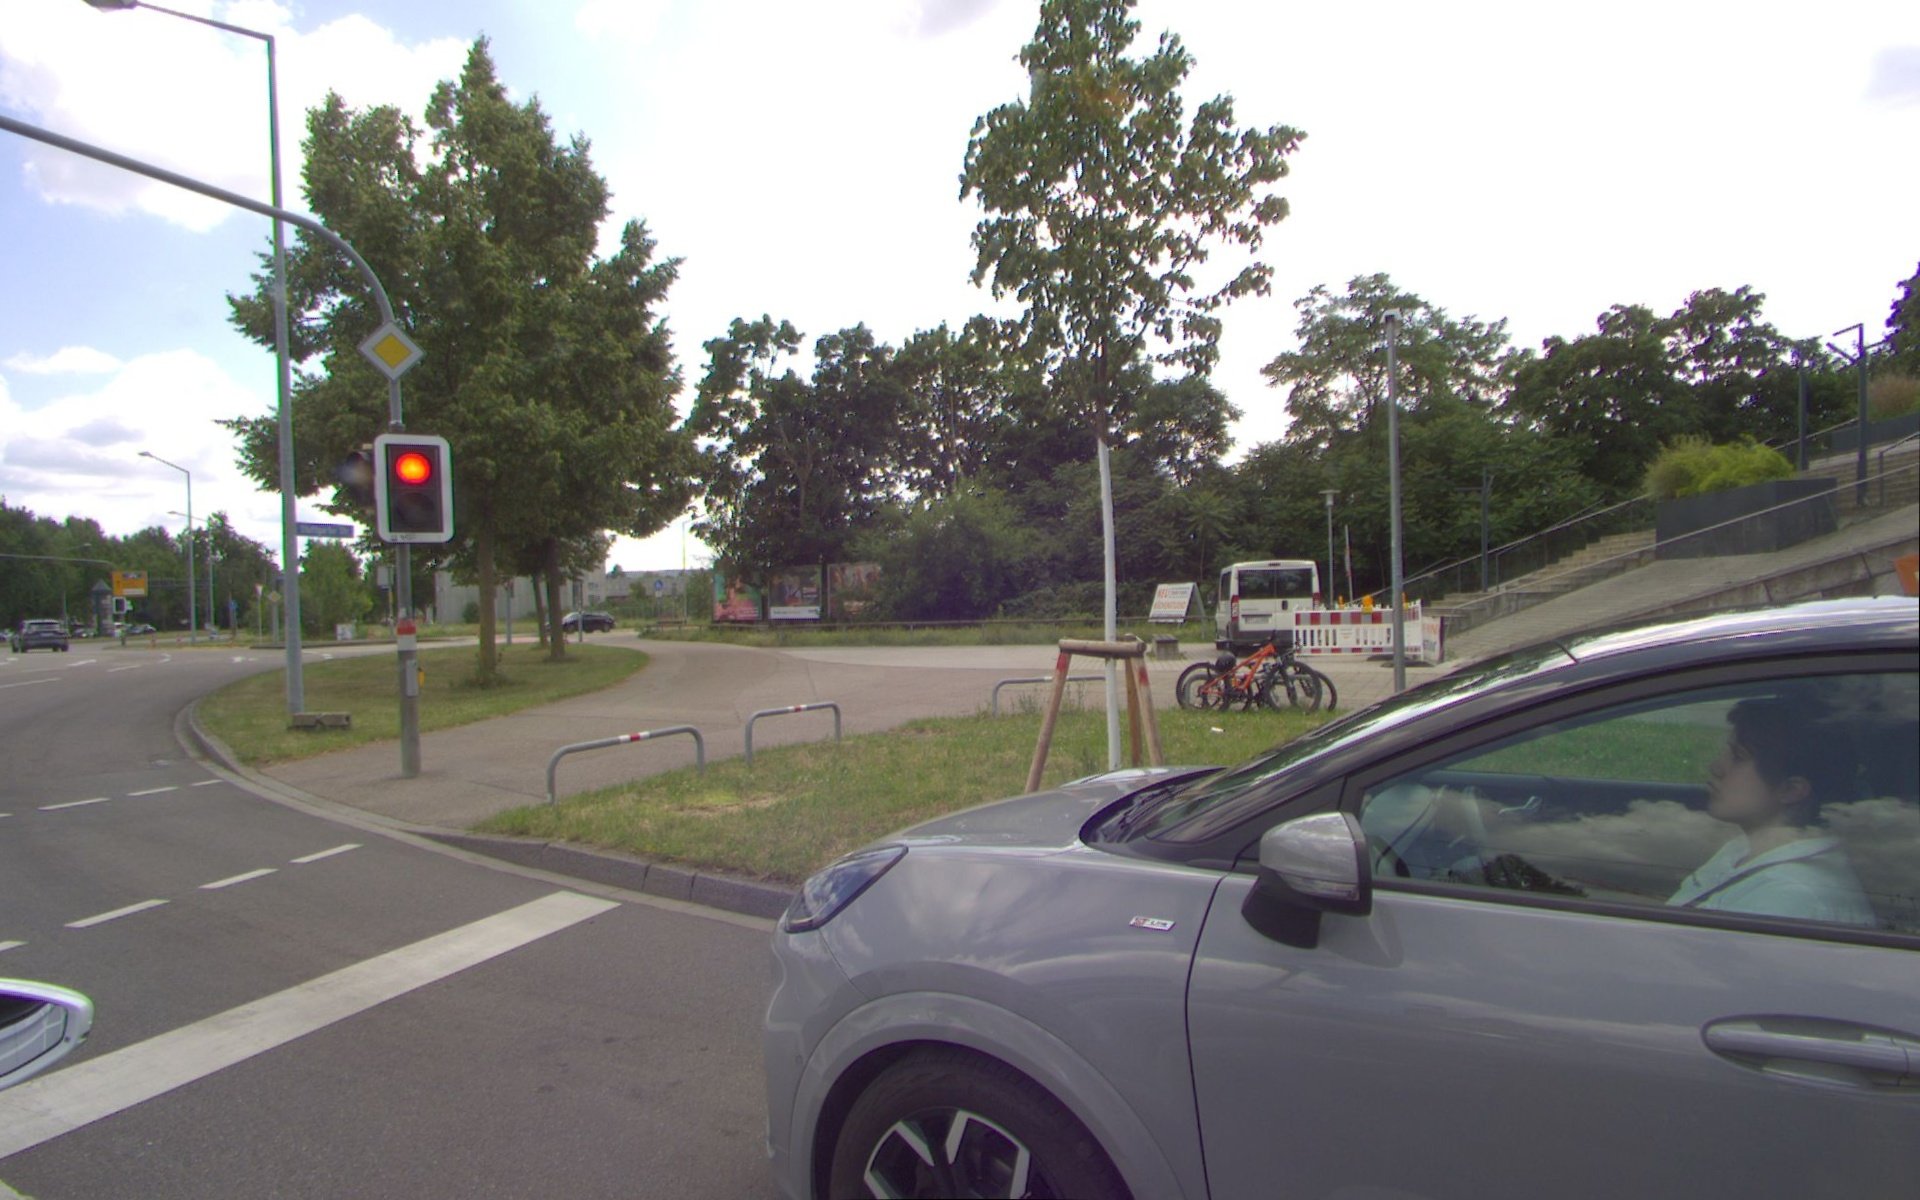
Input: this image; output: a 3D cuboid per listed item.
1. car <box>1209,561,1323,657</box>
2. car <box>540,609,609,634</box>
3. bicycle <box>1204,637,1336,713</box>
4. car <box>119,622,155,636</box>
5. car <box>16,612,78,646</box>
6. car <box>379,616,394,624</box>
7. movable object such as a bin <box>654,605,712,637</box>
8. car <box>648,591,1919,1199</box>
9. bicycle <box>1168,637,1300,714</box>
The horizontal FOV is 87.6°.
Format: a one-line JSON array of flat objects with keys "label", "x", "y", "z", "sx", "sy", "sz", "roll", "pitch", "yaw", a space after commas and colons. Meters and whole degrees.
[{"label": "car", "x": 7.566, "y": 0.228, "z": 25.249, "sx": 2.108, "sy": 2.176, "sz": 5.149, "roll": 0, "pitch": 0, "yaw": 10}, {"label": "car", "x": -24.220, "y": 1.343, "z": 63.057, "sx": 1.663, "sy": 1.482, "sz": 3.984, "roll": 0, "pitch": -1, "yaw": 28}, {"label": "bicycle", "x": 3.630, "y": 0.862, "z": 11.742, "sx": 1.449, "sy": 0.837, "sz": 0.357, "roll": 0, "pitch": 1, "yaw": 24}, {"label": "car", "x": -91.470, "y": 3.243, "z": 111.372, "sx": 1.814, "sy": 1.505, "sz": 3.859, "roll": 0, "pitch": -2, "yaw": -19}, {"label": "car", "x": -47.629, "y": 1.490, "z": 52.229, "sx": 4.262, "sy": 1.648, "sz": 1.982, "roll": -1, "pitch": 1, "yaw": 42}, {"label": "car", "x": -109.805, "y": 3.835, "z": 191.736, "sx": 1.814, "sy": 1.506, "sz": 3.857, "roll": -1, "pitch": 0, "yaw": -19}, {"label": "movable object such as a bin", "x": -34.804, "y": 2.676, "z": 126.030, "sx": 2.999, "sy": 3.901, "sz": 7.598, "roll": -1, "pitch": -2, "yaw": 24}, {"label": "car", "x": 1.456, "y": 0.740, "z": 1.951, "sx": 4.032, "sy": 1.490, "sz": 1.667, "roll": -1, "pitch": 0, "yaw": 31}, {"label": "bicycle", "x": 3.168, "y": 0.859, "z": 11.611, "sx": 1.449, "sy": 0.837, "sz": 0.357, "roll": 0, "pitch": 1, "yaw": 24}]
